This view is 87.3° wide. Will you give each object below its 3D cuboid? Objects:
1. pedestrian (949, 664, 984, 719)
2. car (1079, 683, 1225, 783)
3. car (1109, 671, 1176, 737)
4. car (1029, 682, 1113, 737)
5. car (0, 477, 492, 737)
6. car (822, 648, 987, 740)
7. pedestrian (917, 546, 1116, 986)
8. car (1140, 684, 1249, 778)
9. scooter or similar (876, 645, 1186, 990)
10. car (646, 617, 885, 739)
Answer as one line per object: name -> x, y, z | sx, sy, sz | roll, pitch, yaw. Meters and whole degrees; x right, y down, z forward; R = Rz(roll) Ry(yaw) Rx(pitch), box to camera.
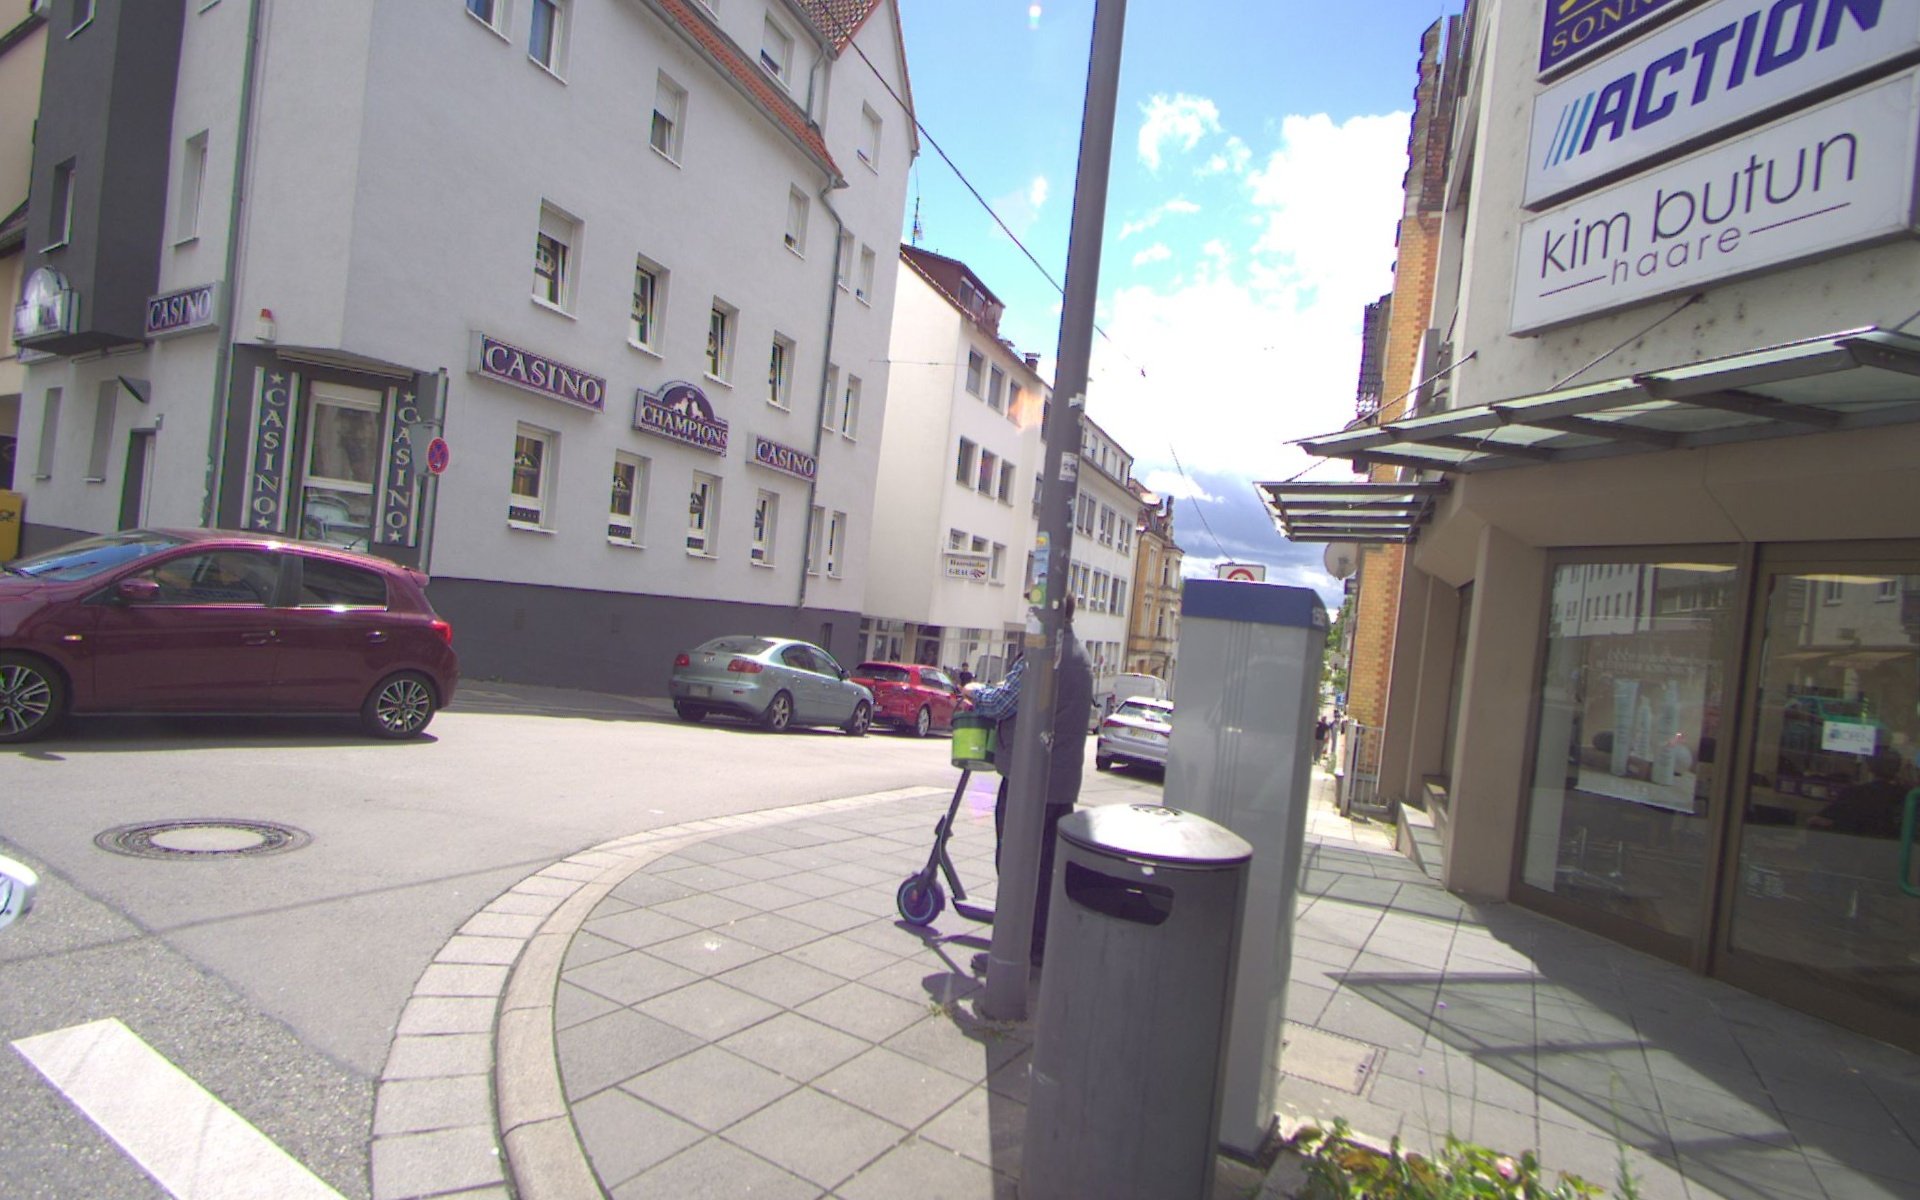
pedestrian -> 0.207, 2.928, 32.173 | 0.570, 1.676, 0.949 | 8, -2, 22
car -> 3.765, 2.517, 19.200 | 1.816, 1.413, 3.897 | 8, -4, 23
car -> 8.525, 4.862, 46.631 | 2.028, 2.521, 4.493 | 7, -6, 21
car -> 3.854, 3.783, 34.347 | 1.815, 1.411, 3.848 | 7, -6, 21
car -> -5.717, 0.110, 7.410 | 1.513, 1.547, 3.752 | 6, -2, 34
car -> -1.033, 2.027, 21.045 | 1.816, 1.411, 3.847 | 6, -6, 23
pedestrian -> 0.261, 0.678, 4.363 | 0.473, 1.723, 0.572 | 6, -1, 28
car -> 5.798, 3.237, 24.462 | 1.815, 1.771, 4.410 | 9, -5, 21
scooter or similar -> 0.312, 0.937, 4.667 | 1.228, 1.295, 0.431 | 6, -1, 30
car -> -2.974, 1.343, 16.293 | 1.816, 1.411, 3.901 | 6, -6, 23
